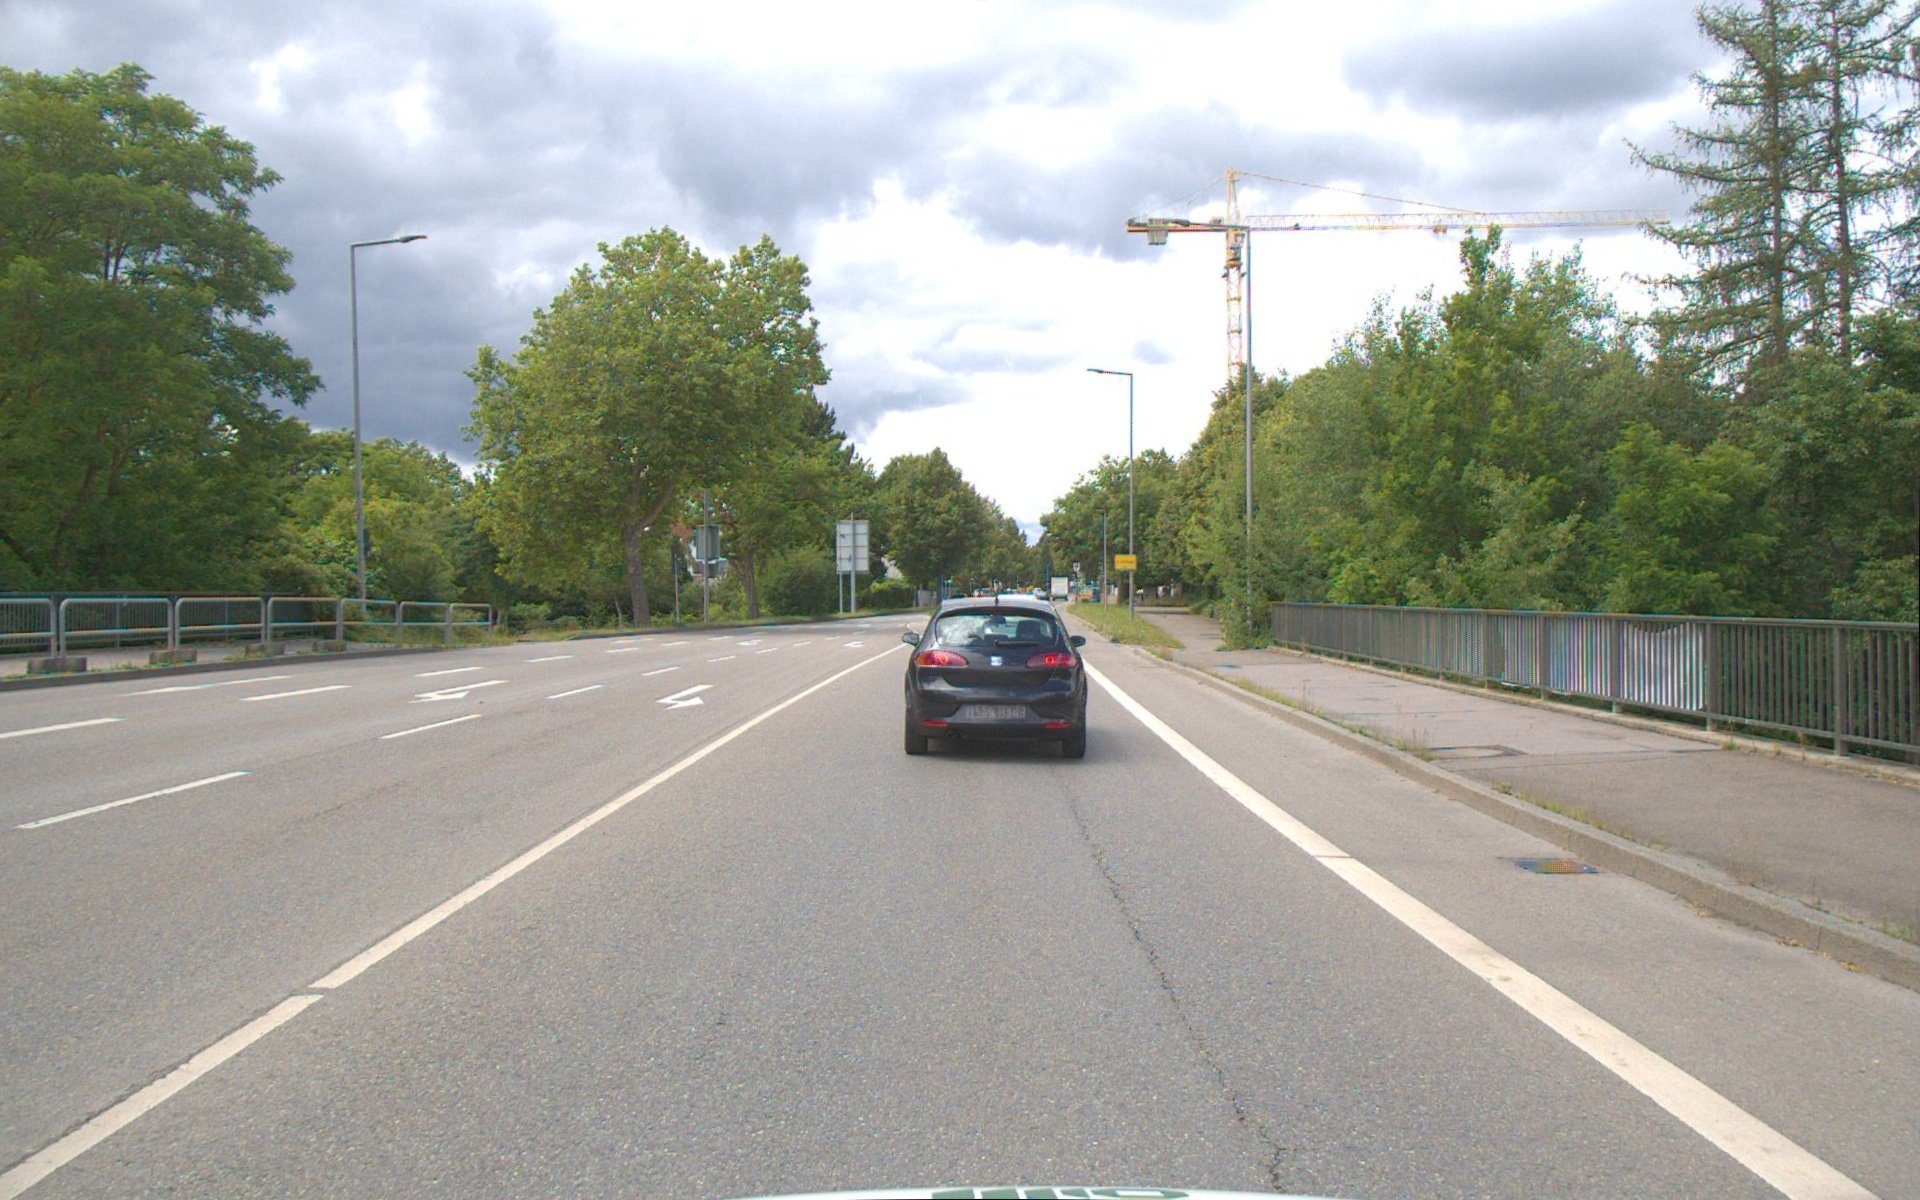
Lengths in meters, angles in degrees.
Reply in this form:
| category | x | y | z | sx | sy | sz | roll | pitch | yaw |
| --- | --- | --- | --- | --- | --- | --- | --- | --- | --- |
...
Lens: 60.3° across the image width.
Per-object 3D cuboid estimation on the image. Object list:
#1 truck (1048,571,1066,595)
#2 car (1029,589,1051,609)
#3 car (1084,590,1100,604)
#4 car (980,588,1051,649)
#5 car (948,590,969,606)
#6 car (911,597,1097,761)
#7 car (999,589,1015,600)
| category | x | y | z | sx | sy | sz | roll | pitch | yaw |
| --- | --- | --- | --- | --- | --- | --- | --- | --- | --- |
| truck | 13.214 | -2.320 | 225.133 | 2.231 | 3.158 | 8.514 | 1 | 0 | 4 |
| car | 7.312 | -0.104 | 151.382 | 1.842 | 1.718 | 4.216 | -1 | 0 | 4 |
| car | 14.581 | -0.312 | 182.912 | 1.652 | 1.516 | 3.357 | -1 | 0 | 4 |
| car | 1.546 | 0.476 | 44.568 | 1.807 | 1.536 | 3.813 | 1 | 0 | 3 |
| car | -0.130 | -0.209 | 160.303 | 1.682 | 1.419 | 4.804 | -2 | 0 | 4 |
| car | 0.369 | 0.694 | 16.568 | 1.629 | 1.426 | 3.811 | 1 | 0 | -1 |
| car | 7.042 | -0.857 | 246.428 | 2.056 | 1.532 | 5.787 | -2 | 0 | 4 |
